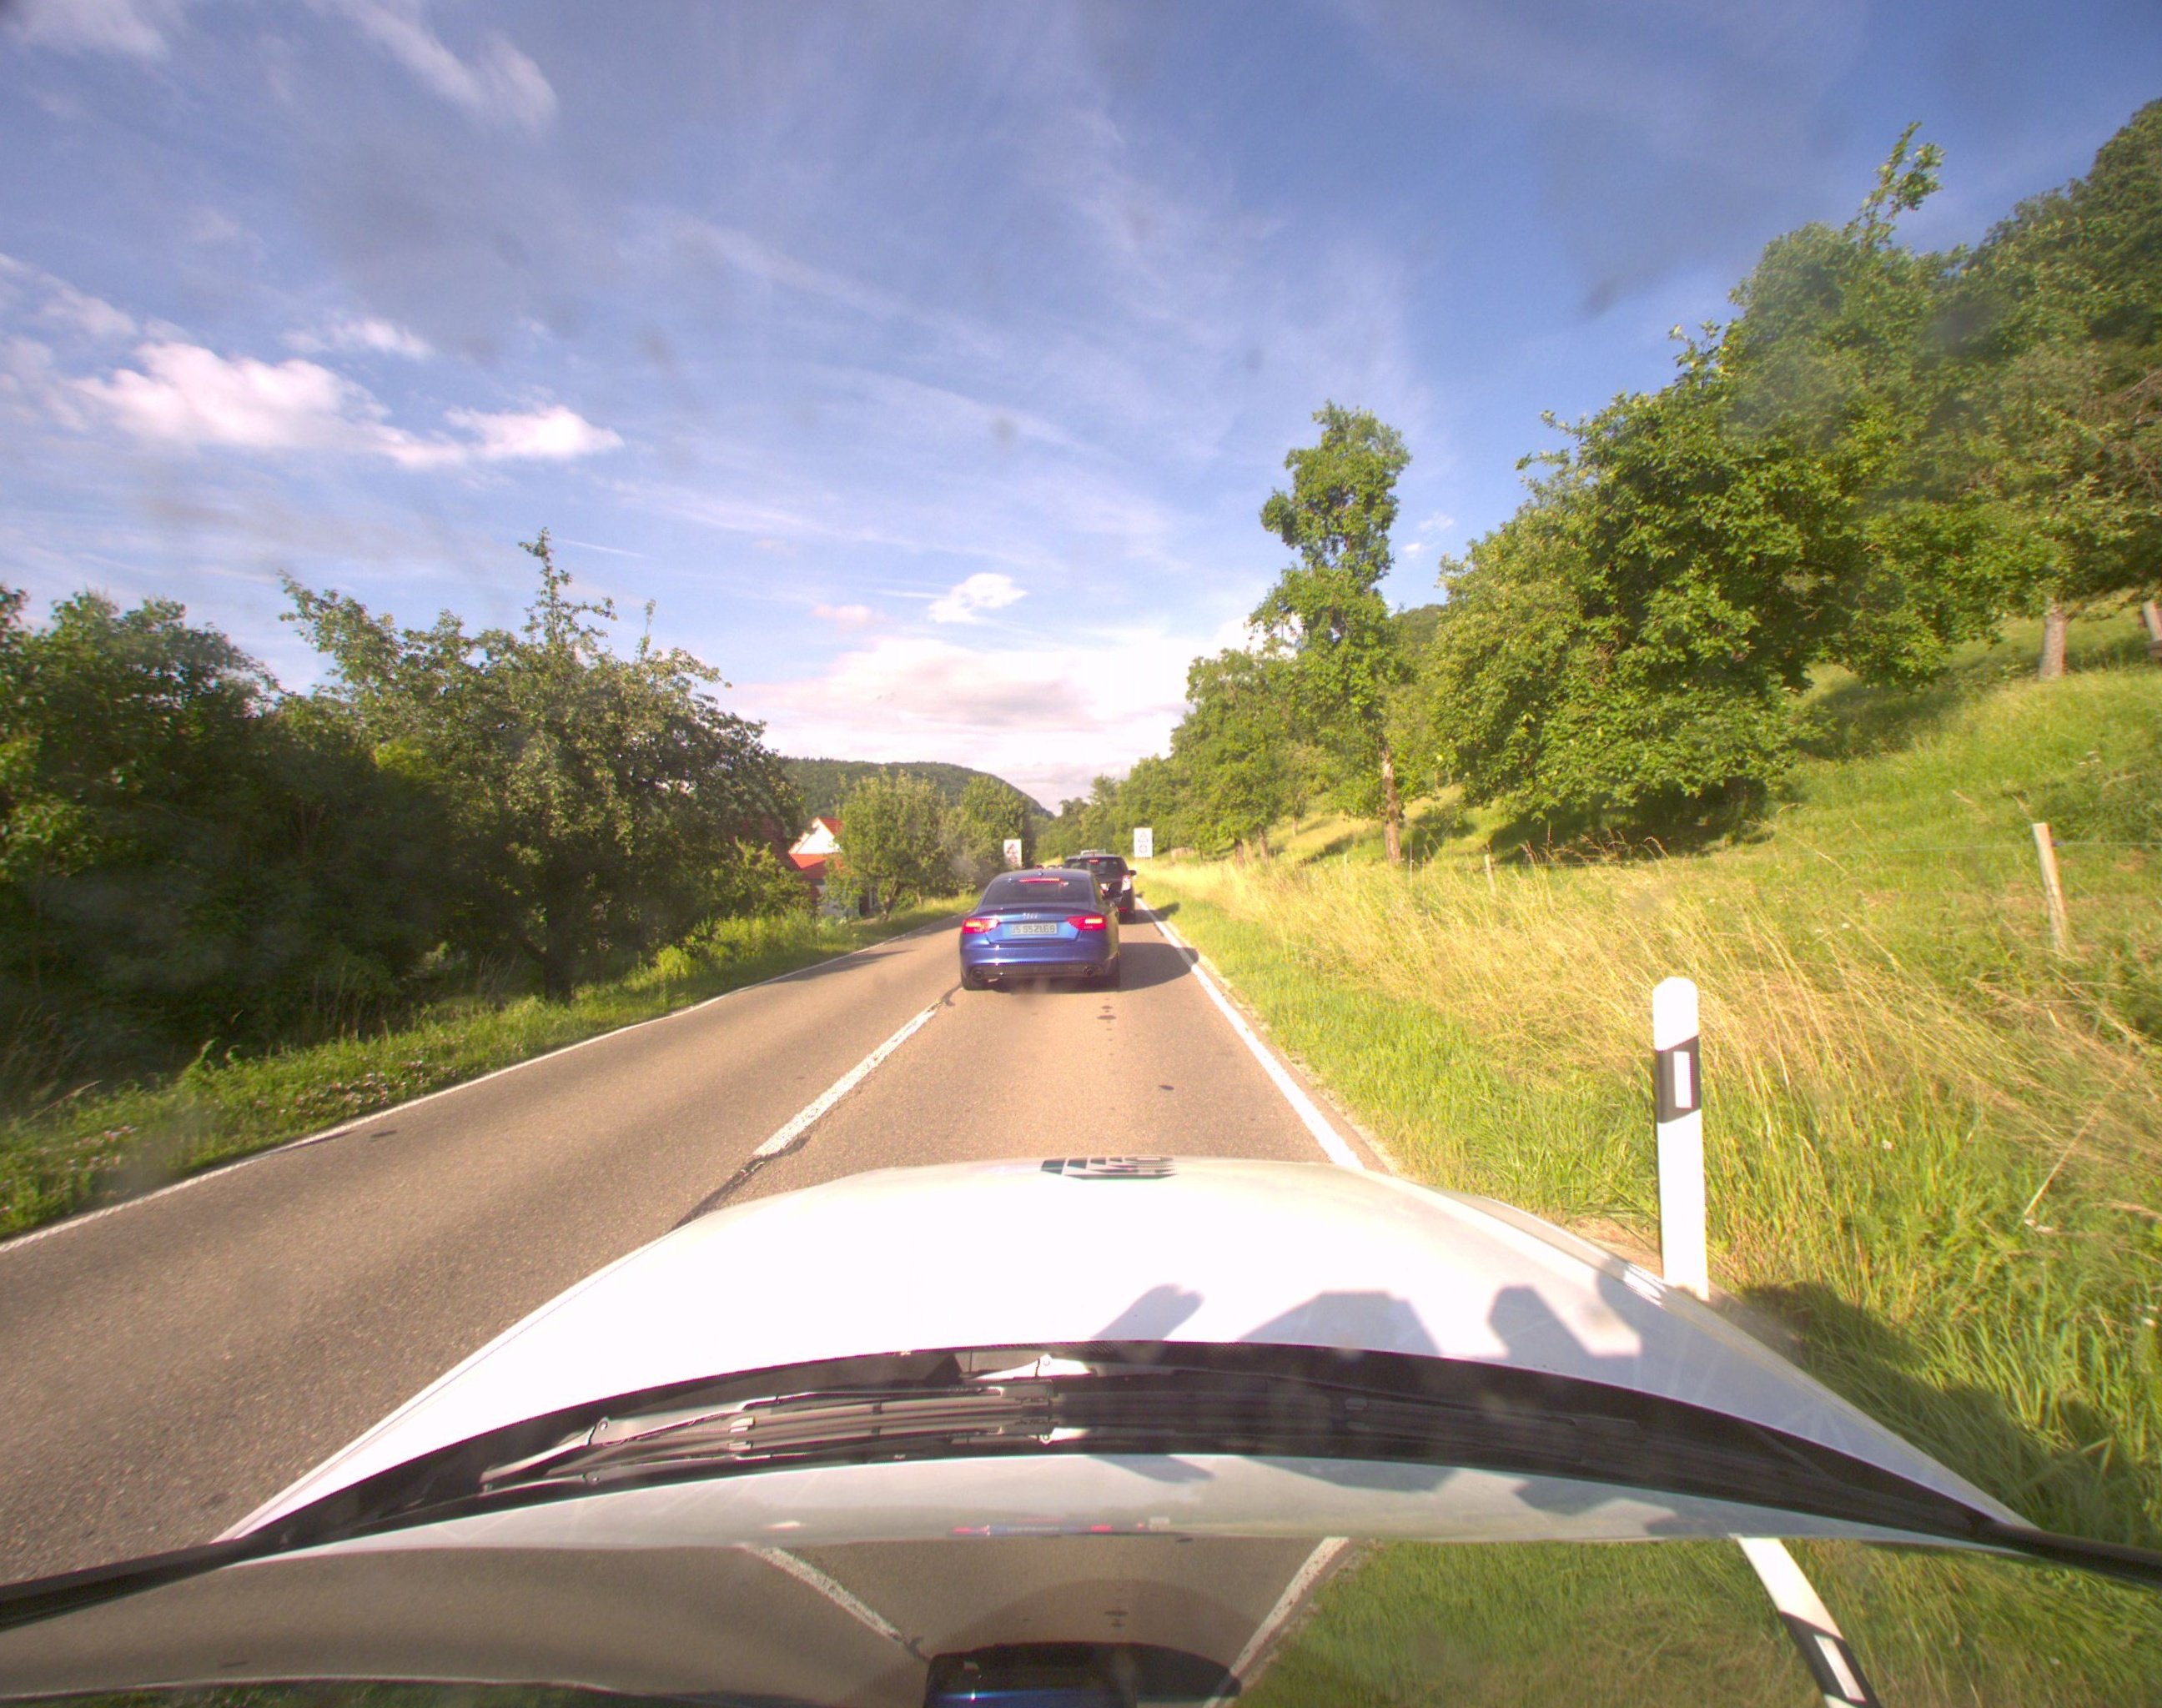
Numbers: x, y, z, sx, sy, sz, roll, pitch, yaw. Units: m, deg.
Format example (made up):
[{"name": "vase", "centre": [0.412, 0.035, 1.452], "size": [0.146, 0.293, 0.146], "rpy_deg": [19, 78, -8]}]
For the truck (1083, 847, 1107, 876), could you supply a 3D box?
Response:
[{"name": "truck", "centre": [1.194, 0.655, 68.996], "size": [1.943, 2.345, 5.094], "rpy_deg": [1, 0, 1]}]

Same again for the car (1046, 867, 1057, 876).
[{"name": "car", "centre": [-5.222, 3.019, 143.259], "size": [1.559, 1.496, 3.765], "rpy_deg": [1, 0, -10]}]

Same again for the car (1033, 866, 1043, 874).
[{"name": "car", "centre": [-8.452, 3.207, 160.942], "size": [1.559, 1.496, 3.764], "rpy_deg": [1, 0, -11]}]

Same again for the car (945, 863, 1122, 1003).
[{"name": "car", "centre": [-0.423, 0.842, 10.539], "size": [1.799, 1.382, 4.216], "rpy_deg": [-2, -1, 2]}]

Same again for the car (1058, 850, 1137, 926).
[{"name": "car", "centre": [0.402, 0.740, 19.462], "size": [1.686, 1.624, 3.790], "rpy_deg": [-1, 0, 1]}]

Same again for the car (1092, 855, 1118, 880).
[{"name": "car", "centre": [1.654, 0.920, 55.742], "size": [1.686, 1.624, 3.790], "rpy_deg": [-1, 0, 1]}]

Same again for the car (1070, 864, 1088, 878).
[{"name": "car", "centre": [-0.258, 1.876, 90.379], "size": [1.745, 1.496, 3.772], "rpy_deg": [1, 0, -4]}]

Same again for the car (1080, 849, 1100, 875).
[{"name": "car", "centre": [0.876, 0.744, 78.642], "size": [1.787, 2.453, 3.917], "rpy_deg": [1, 0, -1]}]

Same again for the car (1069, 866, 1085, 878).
[{"name": "car", "centre": [-0.520, 2.455, 110.449], "size": [1.746, 1.496, 3.769], "rpy_deg": [1, 0, -7]}]

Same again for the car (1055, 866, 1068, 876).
[{"name": "car", "centre": [-3.128, 2.681, 129.474], "size": [1.747, 1.496, 3.767], "rpy_deg": [1, 0, -8]}]
